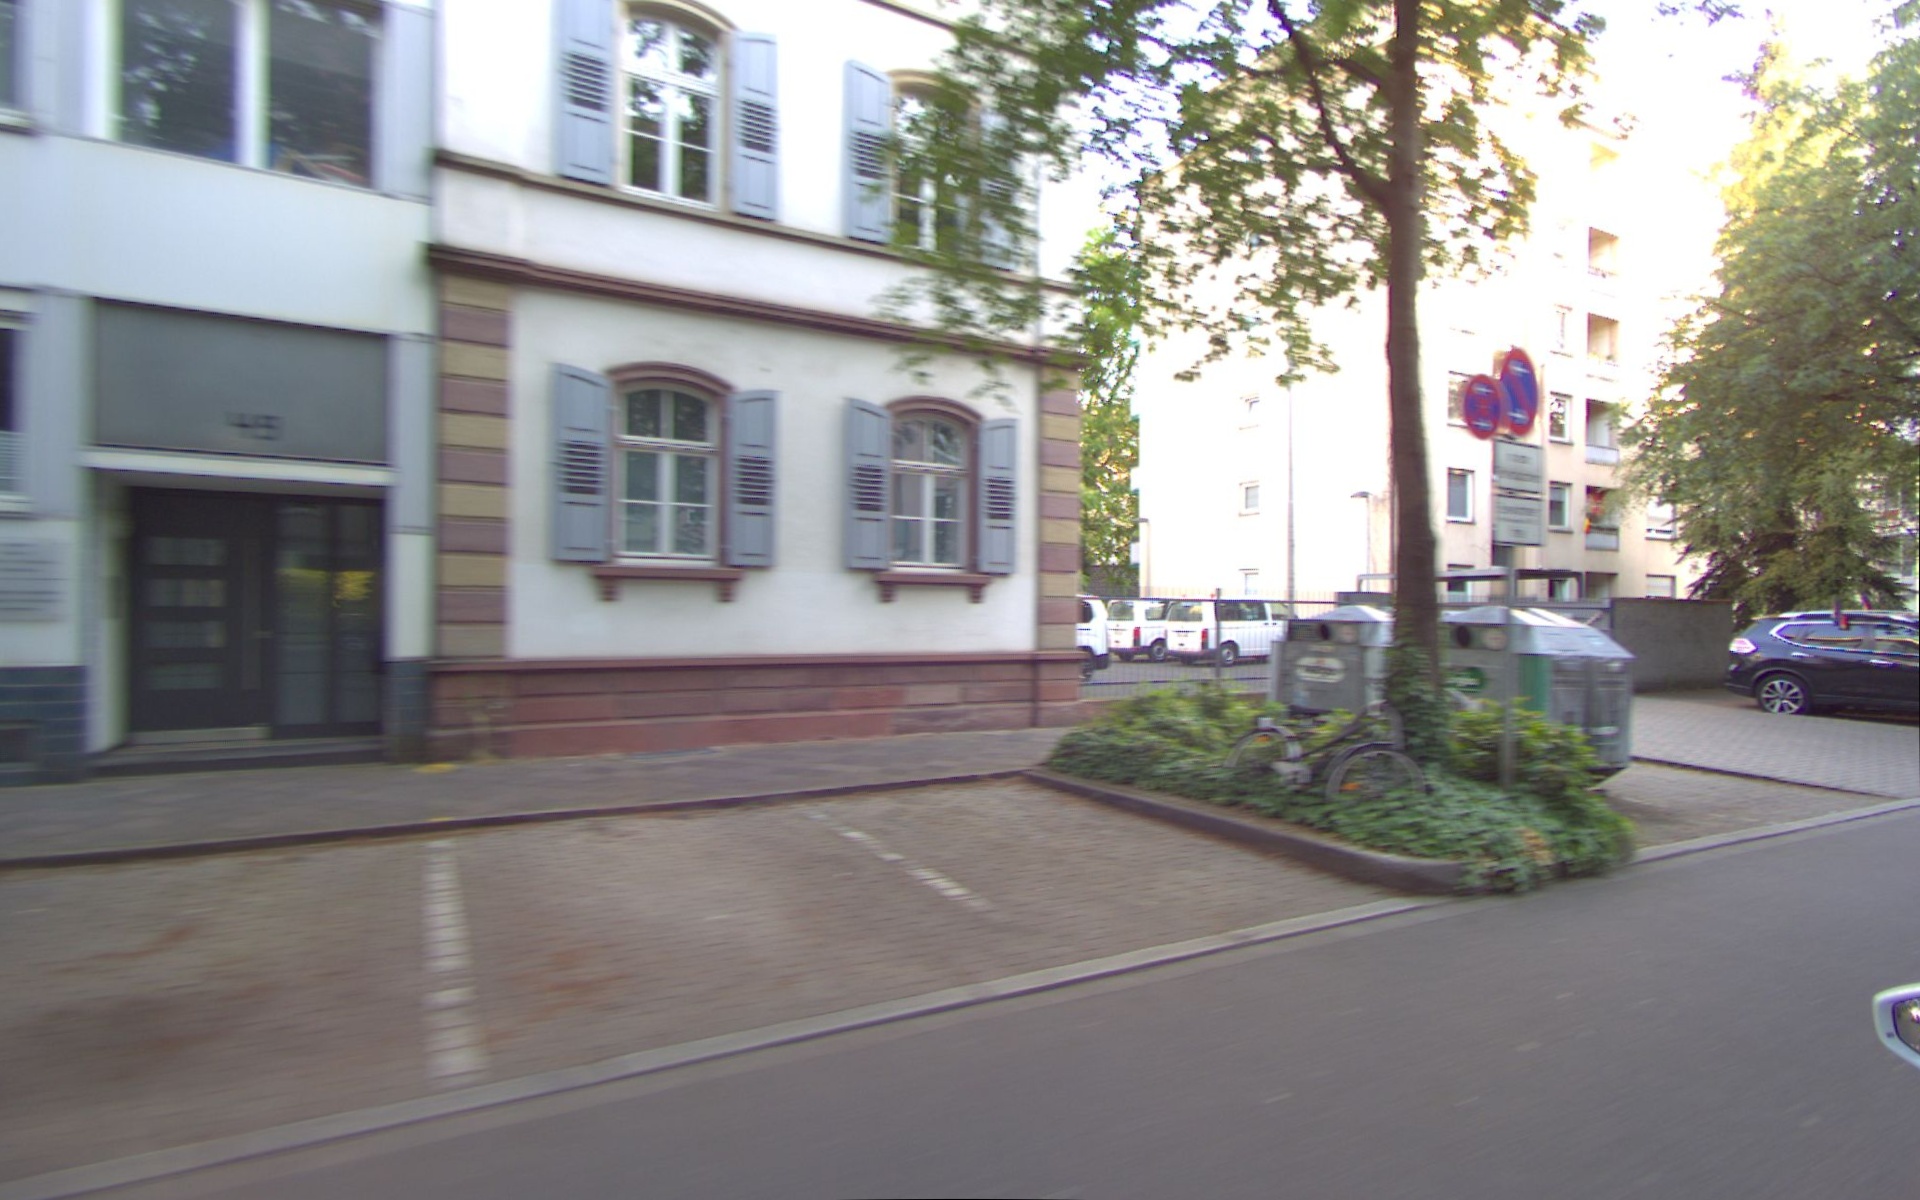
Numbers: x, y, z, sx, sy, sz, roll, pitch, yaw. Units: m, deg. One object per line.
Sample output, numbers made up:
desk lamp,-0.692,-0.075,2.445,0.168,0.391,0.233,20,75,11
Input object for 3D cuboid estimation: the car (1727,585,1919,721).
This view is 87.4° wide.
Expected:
car,14.800,0.791,15.376,1.976,1.981,4.484,1,-1,-30

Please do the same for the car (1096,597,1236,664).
car,6.439,0.936,31.390,3.950,1.973,1.985,1,-1,-28

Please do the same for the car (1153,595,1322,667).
car,8.101,0.876,29.277,4.642,1.948,2.044,1,-1,-27

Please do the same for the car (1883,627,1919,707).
car,19.326,1.246,17.838,1.900,1.483,3.968,1,-1,-30

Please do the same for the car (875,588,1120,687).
car,0.800,0.723,20.157,4.628,1.781,1.986,1,-1,-33
